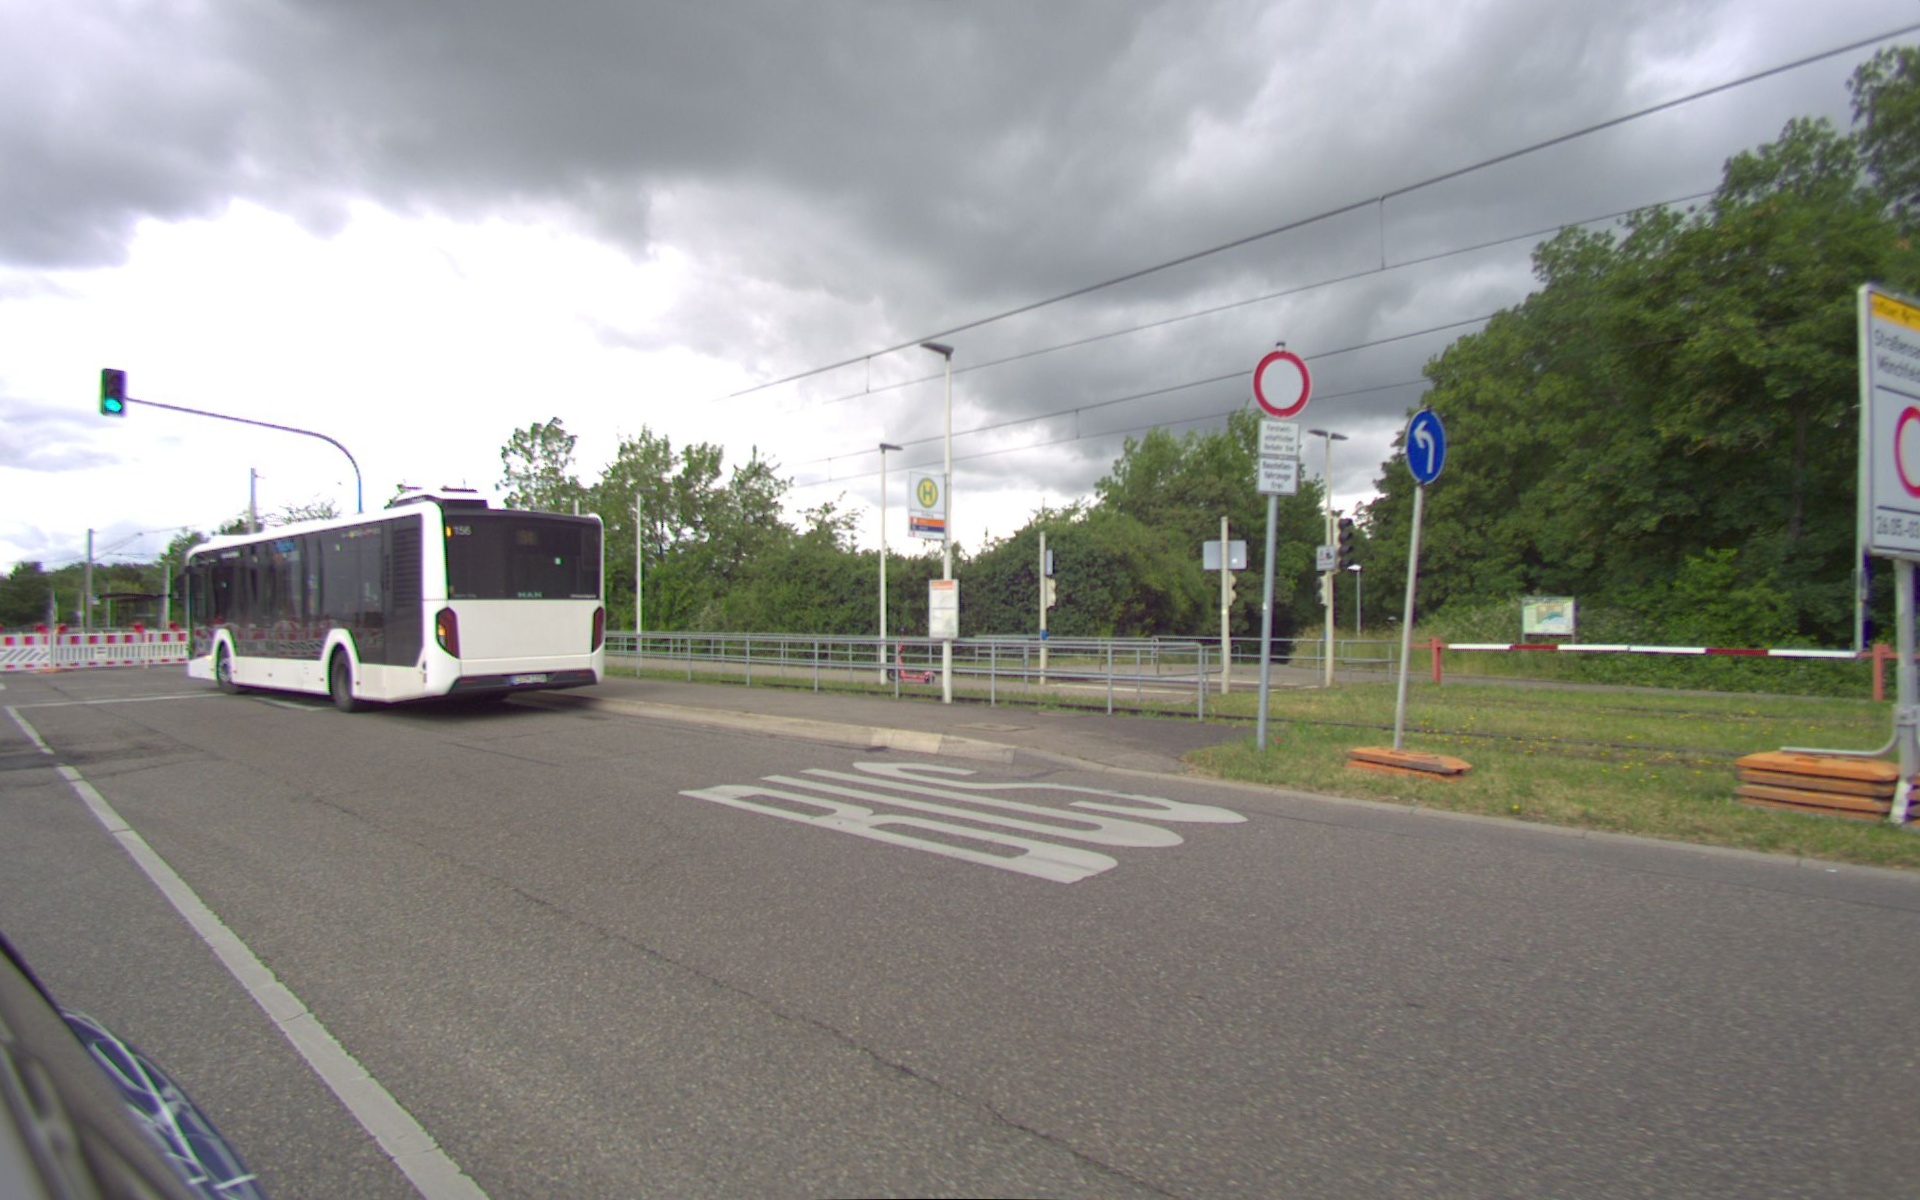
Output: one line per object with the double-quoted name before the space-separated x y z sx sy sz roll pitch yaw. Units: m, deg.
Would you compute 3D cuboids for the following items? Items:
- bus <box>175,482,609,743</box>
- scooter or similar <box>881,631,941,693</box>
"bus" -10.488 0.245 17.564 12.193 3.227 2.638 -1 -1 41
"scooter or similar" -1.042 1.310 21.517 1.265 1.281 0.407 -1 -2 33
